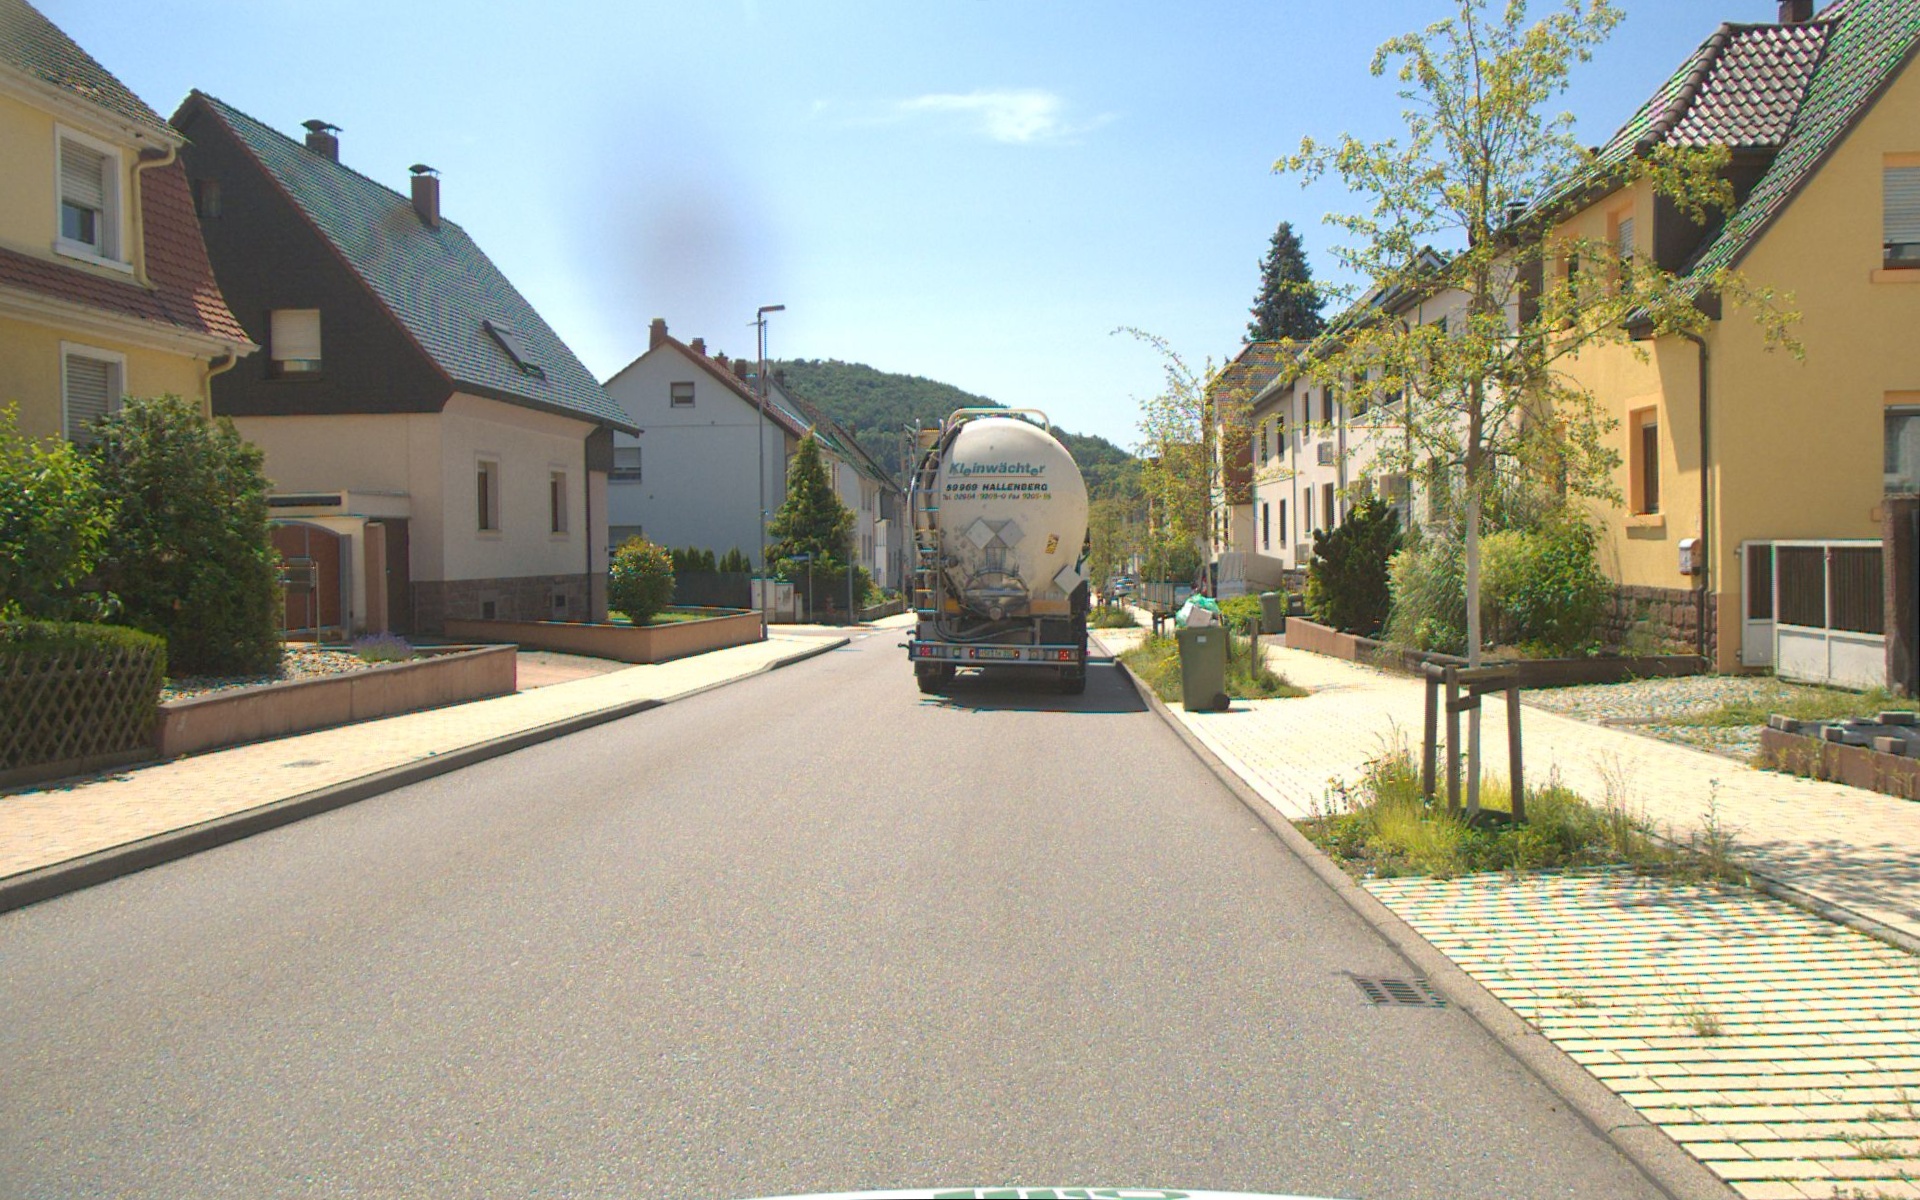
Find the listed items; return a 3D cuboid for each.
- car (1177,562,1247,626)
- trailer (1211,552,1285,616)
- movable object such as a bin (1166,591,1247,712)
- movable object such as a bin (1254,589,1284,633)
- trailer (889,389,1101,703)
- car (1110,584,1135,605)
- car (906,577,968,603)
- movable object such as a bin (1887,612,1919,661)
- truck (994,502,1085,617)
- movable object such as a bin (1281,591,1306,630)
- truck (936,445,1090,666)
[{"bbox_3d":[8.870,-0.211,58.559,1.814,2.004,4.775,-6,0,3],"label":"car"},{"bbox_3d":[9.358,-0.513,53.691,1.302,2.049,2.257,1,0,45],"label":"trailer"},{"bbox_3d":[3.055,0.625,20.576,0.776,1.419,0.925,-4,0,0],"label":"movable object such as a bin"},{"bbox_3d":[8.296,0.289,44.433,0.669,1.134,0.813,-4,-1,8],"label":"movable object such as a bin"},{"bbox_3d":[0.759,-0.786,26.688,2.737,4.070,10.329,0,1,3],"label":"trailer"},{"bbox_3d":[12.468,-0.434,127.011,1.753,1.568,4.522,-1,0,4],"label":"car"},{"bbox_3d":[-1.629,-0.703,117.365,4.303,1.781,1.879,0,1,2],"label":"car"},{"bbox_3d":[11.585,0.445,20.098,0.444,0.581,0.375,0,0,3],"label":"movable object such as a bin"},{"bbox_3d":[3.580,-1.829,77.680,3.830,4.981,9.797,-1,1,1],"label":"truck"},{"bbox_3d":[8.981,0.286,44.526,0.546,1.003,0.803,-5,-1,9],"label":"movable object such as a bin"},{"bbox_3d":[1.156,-0.865,33.404,2.749,4.005,6.102,1,1,4],"label":"truck"}]
